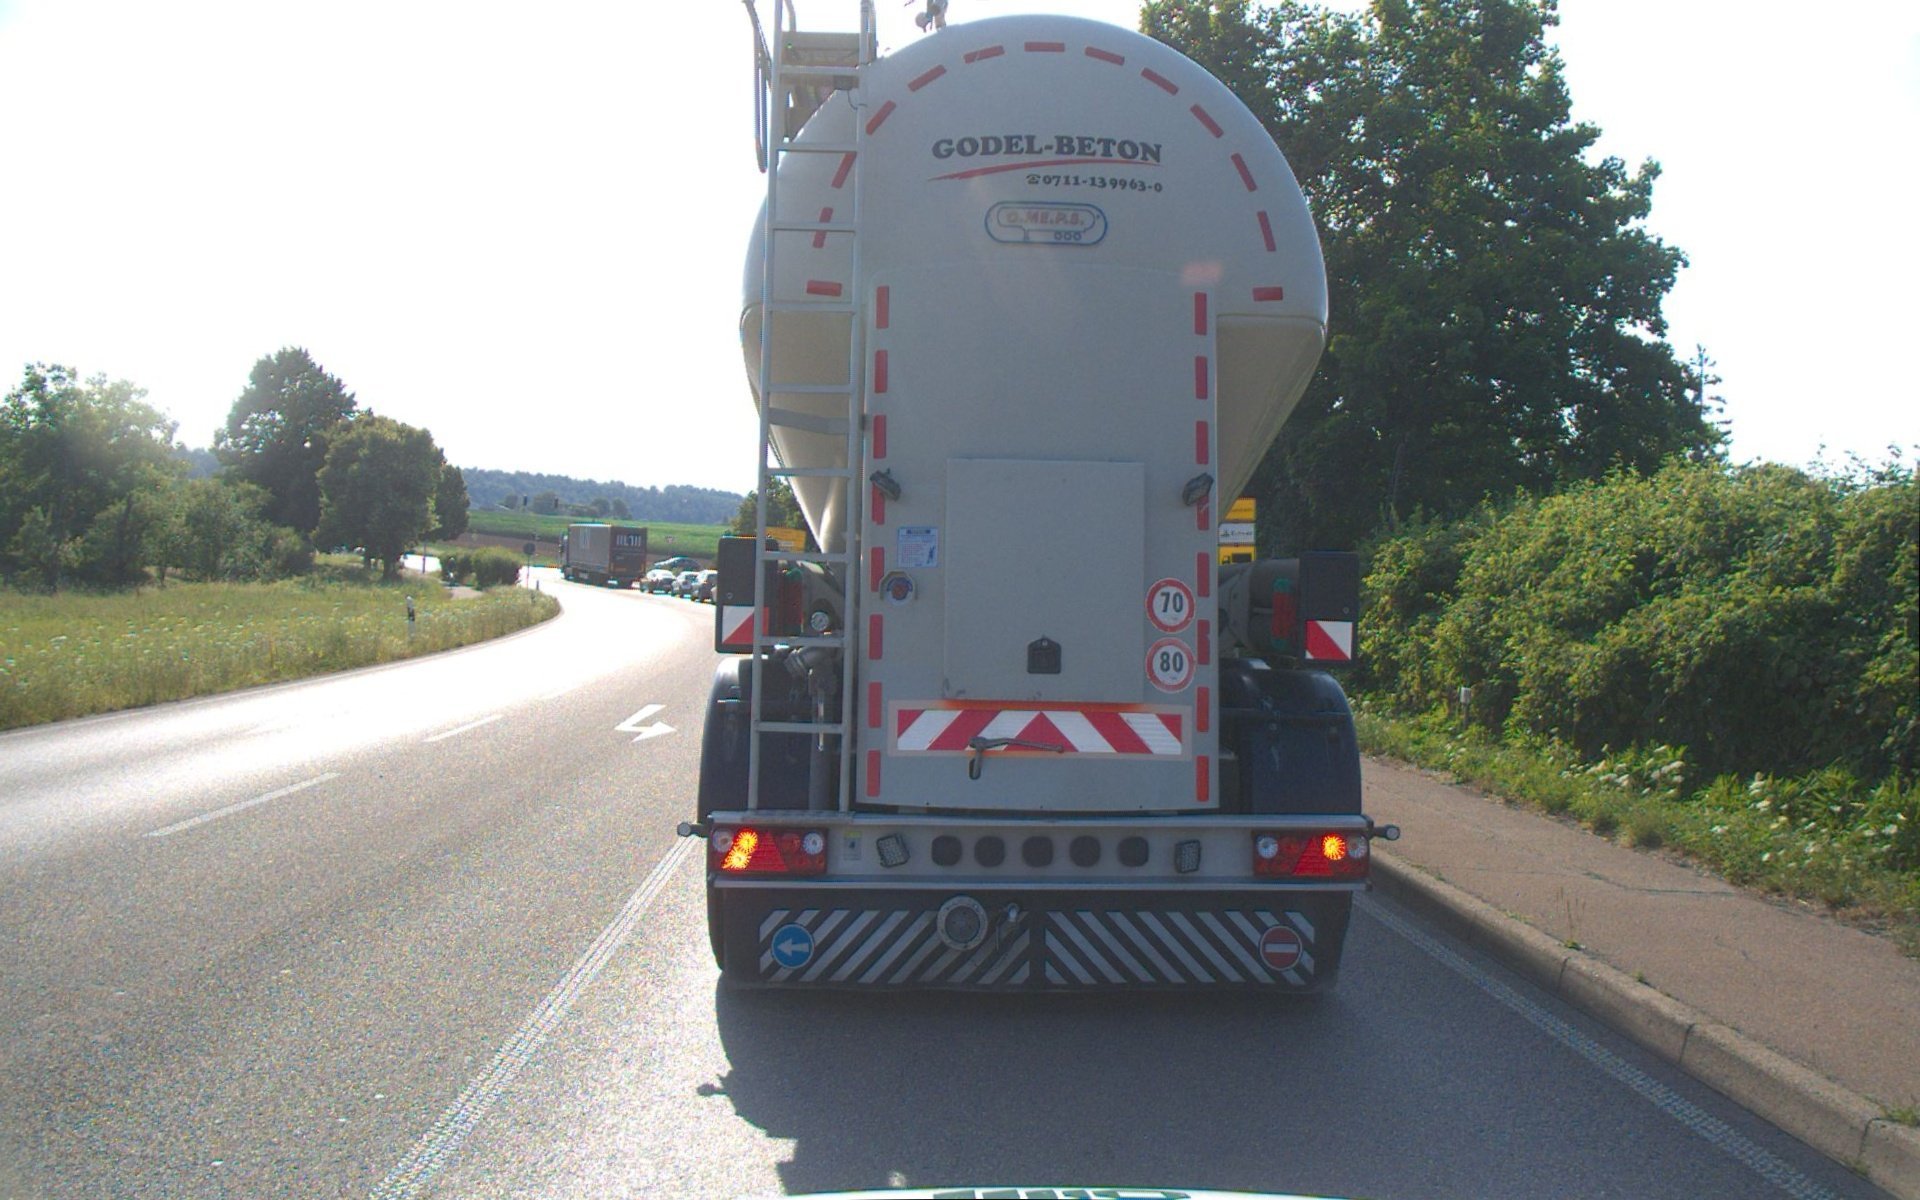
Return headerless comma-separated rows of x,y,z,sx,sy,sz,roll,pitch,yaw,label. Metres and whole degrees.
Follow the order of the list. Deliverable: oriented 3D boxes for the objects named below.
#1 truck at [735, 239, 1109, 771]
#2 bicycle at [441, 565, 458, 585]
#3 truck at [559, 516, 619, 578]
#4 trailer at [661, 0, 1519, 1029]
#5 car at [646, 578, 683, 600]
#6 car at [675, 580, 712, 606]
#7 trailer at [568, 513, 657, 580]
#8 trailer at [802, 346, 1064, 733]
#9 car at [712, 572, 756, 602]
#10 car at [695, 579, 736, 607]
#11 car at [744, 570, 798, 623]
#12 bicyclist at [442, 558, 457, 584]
-0.466,-0.727,14.878,2.853,4.076,4.055,1,0,-6,truck
-29.020,-1.392,94.038,0.623,1.093,1.667,3,0,-9,bicycle
-28.415,-4.020,126.556,3.331,4.426,5.664,2,0,-24,truck
-0.026,-0.660,10.443,2.853,4.076,9.917,1,0,-6,trailer
-18.221,-0.669,101.856,1.742,1.226,3.408,-4,2,-18,car
-15.432,-0.405,95.662,1.556,1.364,3.408,2,0,-18,car
-25.193,-3.806,119.197,3.331,4.426,14.190,2,0,-23,trailer
-0.384,-0.751,26.350,2.895,4.390,14.173,2,0,-1,trailer
-11.125,-0.637,81.351,1.556,1.364,3.408,2,0,-18,car
-12.959,-0.398,87.549,1.556,1.364,3.408,2,0,-18,car
-7.691,-0.161,67.047,1.828,2.049,3.709,1,0,-11,car
-29.005,-1.649,94.015,0.623,1.444,0.689,3,0,-9,bicyclist
